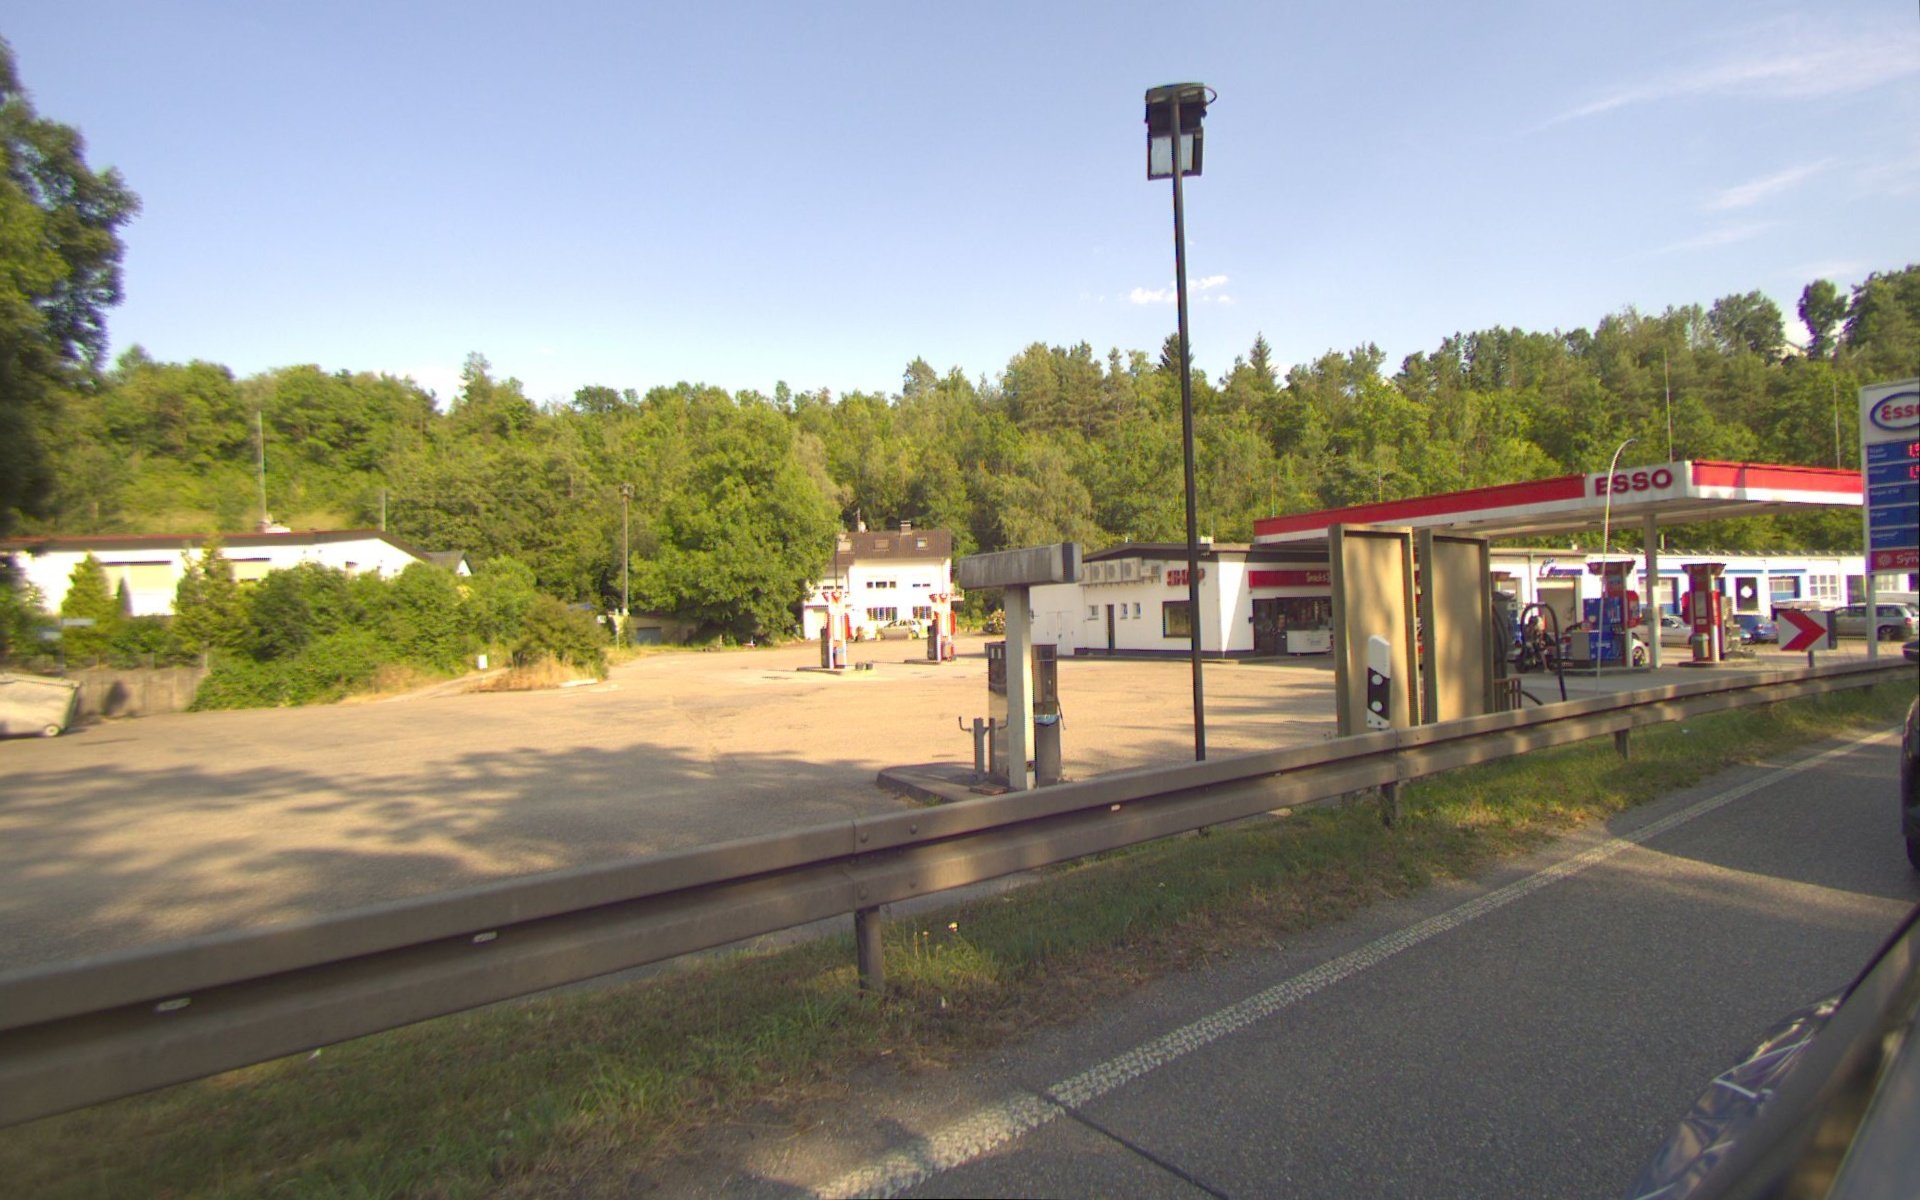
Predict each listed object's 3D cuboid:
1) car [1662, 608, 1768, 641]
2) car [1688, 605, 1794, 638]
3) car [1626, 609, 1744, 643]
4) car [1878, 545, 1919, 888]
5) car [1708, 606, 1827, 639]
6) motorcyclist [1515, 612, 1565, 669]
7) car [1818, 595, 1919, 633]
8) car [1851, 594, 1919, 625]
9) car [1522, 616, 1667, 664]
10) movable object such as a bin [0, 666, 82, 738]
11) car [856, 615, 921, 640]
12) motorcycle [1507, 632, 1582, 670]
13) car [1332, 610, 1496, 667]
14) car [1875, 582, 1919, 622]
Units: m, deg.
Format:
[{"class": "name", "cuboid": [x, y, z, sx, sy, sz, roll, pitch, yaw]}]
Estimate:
[{"class": "car", "cuboid": [34.915, 1.102, 46.878, 1.656, 1.424, 3.566, -1, 0, -26]}, {"class": "car", "cuboid": [36.859, 0.999, 47.868, 1.698, 1.464, 3.560, -1, -1, -26]}, {"class": "car", "cuboid": [32.676, 1.123, 45.731, 1.741, 1.371, 3.973, -1, 1, -30]}, {"class": "car", "cuboid": [6.844, 0.554, 5.589, 4.359, 1.661, 1.860, 0, 0, -37]}, {"class": "car", "cuboid": [38.775, 1.028, 48.697, 1.856, 1.365, 4.087, -1, 2, -26]}, {"class": "motorcyclist", "cuboid": [16.927, 1.173, 29.556, 0.909, 1.625, 0.862, 0, -1, -27]}, {"class": "car", "cuboid": [46.244, 0.679, 50.948, 1.854, 1.750, 4.267, -1, 2, -29]}, {"class": "car", "cuboid": [52.775, 0.514, 56.455, 1.856, 1.631, 4.261, -1, 1, -26]}, {"class": "car", "cuboid": [19.928, 1.206, 31.755, 4.299, 1.336, 1.851, -1, -1, -26]}, {"class": "movable object such as a bin", "cuboid": [-20.407, 2.202, 21.578, 2.512, 1.439, 1.267, 0, -4, -41]}, {"class": "car", "cuboid": [-5.693, 2.178, 81.470, 5.068, 1.860, 2.701, -1, -1, 0]}, {"class": "motorcycle", "cuboid": [17.145, 1.481, 29.649, 2.293, 1.025, 0.765, -1, -1, -27]}, {"class": "car", "cuboid": [14.595, 1.181, 32.471, 5.075, 1.649, 2.102, -1, -1, -28]}, {"class": "car", "cuboid": [56.950, 0.132, 58.545, 2.248, 2.302, 5.500, -1, 1, -26]}]
